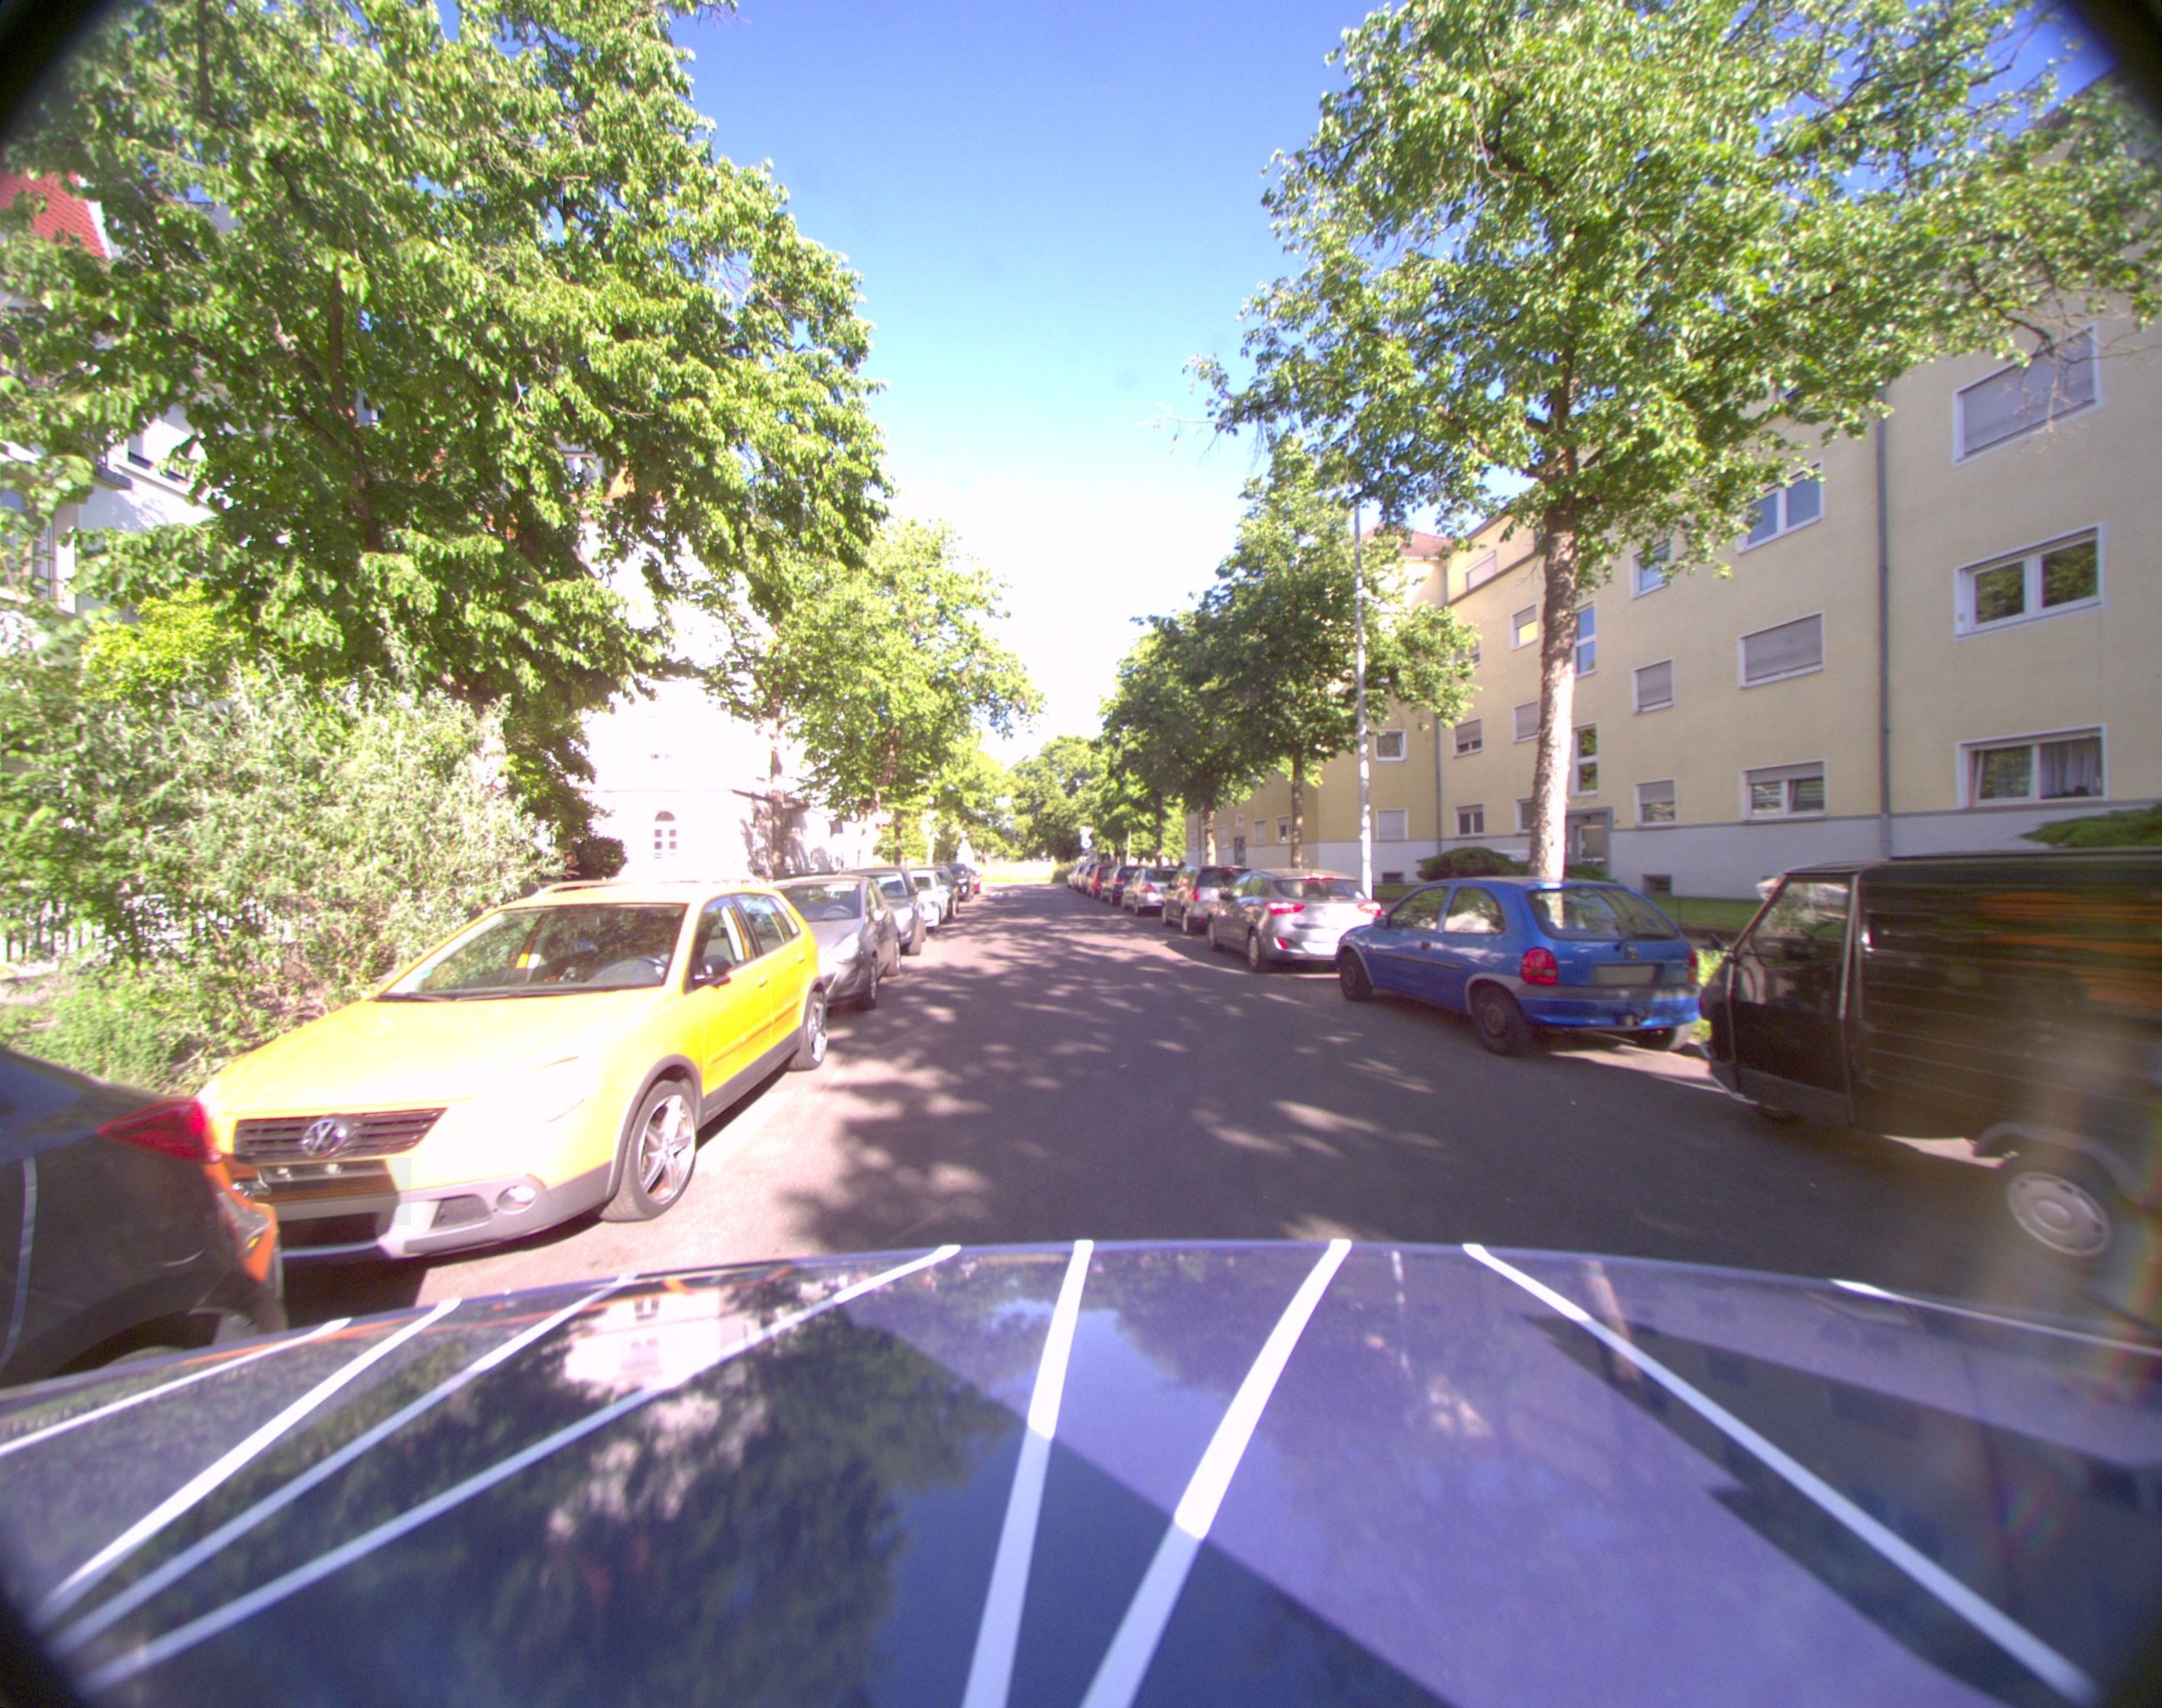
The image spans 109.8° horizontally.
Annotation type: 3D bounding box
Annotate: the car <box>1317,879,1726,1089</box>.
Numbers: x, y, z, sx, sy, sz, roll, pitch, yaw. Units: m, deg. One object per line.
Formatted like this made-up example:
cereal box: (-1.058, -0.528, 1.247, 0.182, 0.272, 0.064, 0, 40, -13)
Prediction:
car: (3.820, 1.002, 7.400, 1.525, 1.387, 3.725, -1, 0, -6)

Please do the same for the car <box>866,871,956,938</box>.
car: (-4.190, 1.182, 19.308, 1.634, 1.416, 4.366, 0, 0, -5)

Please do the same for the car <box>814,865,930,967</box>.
car: (-3.882, 1.060, 14.675, 1.654, 1.646, 3.844, -1, 0, -8)

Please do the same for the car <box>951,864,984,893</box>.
car: (-6.028, 1.254, 40.175, 1.616, 1.401, 4.348, -1, 0, -9)

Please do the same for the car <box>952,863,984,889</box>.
car: (-6.654, 1.261, 44.974, 1.657, 1.394, 4.133, -1, 0, -6)

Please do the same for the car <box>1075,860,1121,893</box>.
car: (0.788, 1.088, 38.598, 1.696, 1.555, 4.733, -1, 0, -7)

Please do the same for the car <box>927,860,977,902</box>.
car: (-5.549, 1.107, 33.092, 1.786, 1.688, 4.295, 0, 0, -6)

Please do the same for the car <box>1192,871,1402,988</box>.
car: (3.156, 1.039, 12.203, 1.797, 1.436, 4.686, 1, 0, -3)

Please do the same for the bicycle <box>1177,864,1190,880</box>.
bicycle: (6.437, 1.141, 47.802, 0.454, 0.995, 1.544, -1, 0, -5)

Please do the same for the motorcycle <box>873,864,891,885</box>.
motorcycle: (-12.651, 1.282, 48.332, 0.974, 1.321, 1.851, -1, 0, -10)

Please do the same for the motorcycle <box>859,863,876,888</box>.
motorcycle: (-12.400, 1.230, 44.108, 0.541, 1.353, 2.088, -1, 0, -5)

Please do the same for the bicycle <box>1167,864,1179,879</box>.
bicycle: (6.192, 1.183, 51.118, 0.477, 0.995, 1.544, -1, 0, -5)

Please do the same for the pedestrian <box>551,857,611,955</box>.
pedestrian: (-9.261, 0.934, 14.096, 0.624, 1.764, 0.799, 0, 0, -5)

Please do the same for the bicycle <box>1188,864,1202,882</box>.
bicycle: (6.802, 1.120, 45.411, 0.435, 0.995, 1.681, -1, 0, -5)

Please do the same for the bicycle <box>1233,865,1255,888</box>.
bicycle: (7.713, 1.050, 35.963, 0.537, 1.021, 1.747, -1, 0, -3)

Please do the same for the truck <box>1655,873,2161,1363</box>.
truck: (4.059, 0.897, 3.382, 1.087, 1.568, 2.431, -1, 0, -3)

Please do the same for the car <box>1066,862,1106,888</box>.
car: (0.263, 1.206, 44.995, 1.765, 1.433, 3.991, -1, 0, -8)

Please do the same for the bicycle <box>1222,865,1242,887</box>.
bicycle: (7.536, 1.084, 37.887, 0.542, 1.021, 1.747, -1, 0, -4)

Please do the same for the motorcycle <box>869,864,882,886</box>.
motorcycle: (-12.569, 1.288, 46.462, 0.659, 1.272, 1.798, 1, 0, -12)

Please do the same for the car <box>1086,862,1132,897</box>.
car: (1.208, 1.103, 34.036, 1.670, 1.477, 3.255, -1, 0, -5)

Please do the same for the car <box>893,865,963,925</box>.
car: (-4.703, 1.193, 23.874, 1.689, 1.578, 4.533, -3, 0, -6)

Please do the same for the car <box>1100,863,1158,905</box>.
car: (1.766, 1.102, 29.169, 1.670, 1.450, 3.931, -1, 0, -5)

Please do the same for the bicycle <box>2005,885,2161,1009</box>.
bicycle: (10.022, 0.863, 7.004, 0.487, 1.075, 1.841, -4, 1, -29)

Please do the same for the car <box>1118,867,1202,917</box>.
car: (2.341, 1.109, 23.724, 1.750, 1.360, 4.672, 0, 0, -5)

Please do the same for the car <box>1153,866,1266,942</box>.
car: (2.858, 1.064, 17.811, 1.625, 1.506, 4.267, 1, 0, -4)

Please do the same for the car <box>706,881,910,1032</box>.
car: (-3.199, 1.104, 9.598, 1.654, 1.420, 3.610, 0, 0, -7)

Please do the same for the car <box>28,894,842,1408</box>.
car: (-2.738, 1.065, 4.559, 1.641, 1.446, 4.098, -1, 0, -5)
